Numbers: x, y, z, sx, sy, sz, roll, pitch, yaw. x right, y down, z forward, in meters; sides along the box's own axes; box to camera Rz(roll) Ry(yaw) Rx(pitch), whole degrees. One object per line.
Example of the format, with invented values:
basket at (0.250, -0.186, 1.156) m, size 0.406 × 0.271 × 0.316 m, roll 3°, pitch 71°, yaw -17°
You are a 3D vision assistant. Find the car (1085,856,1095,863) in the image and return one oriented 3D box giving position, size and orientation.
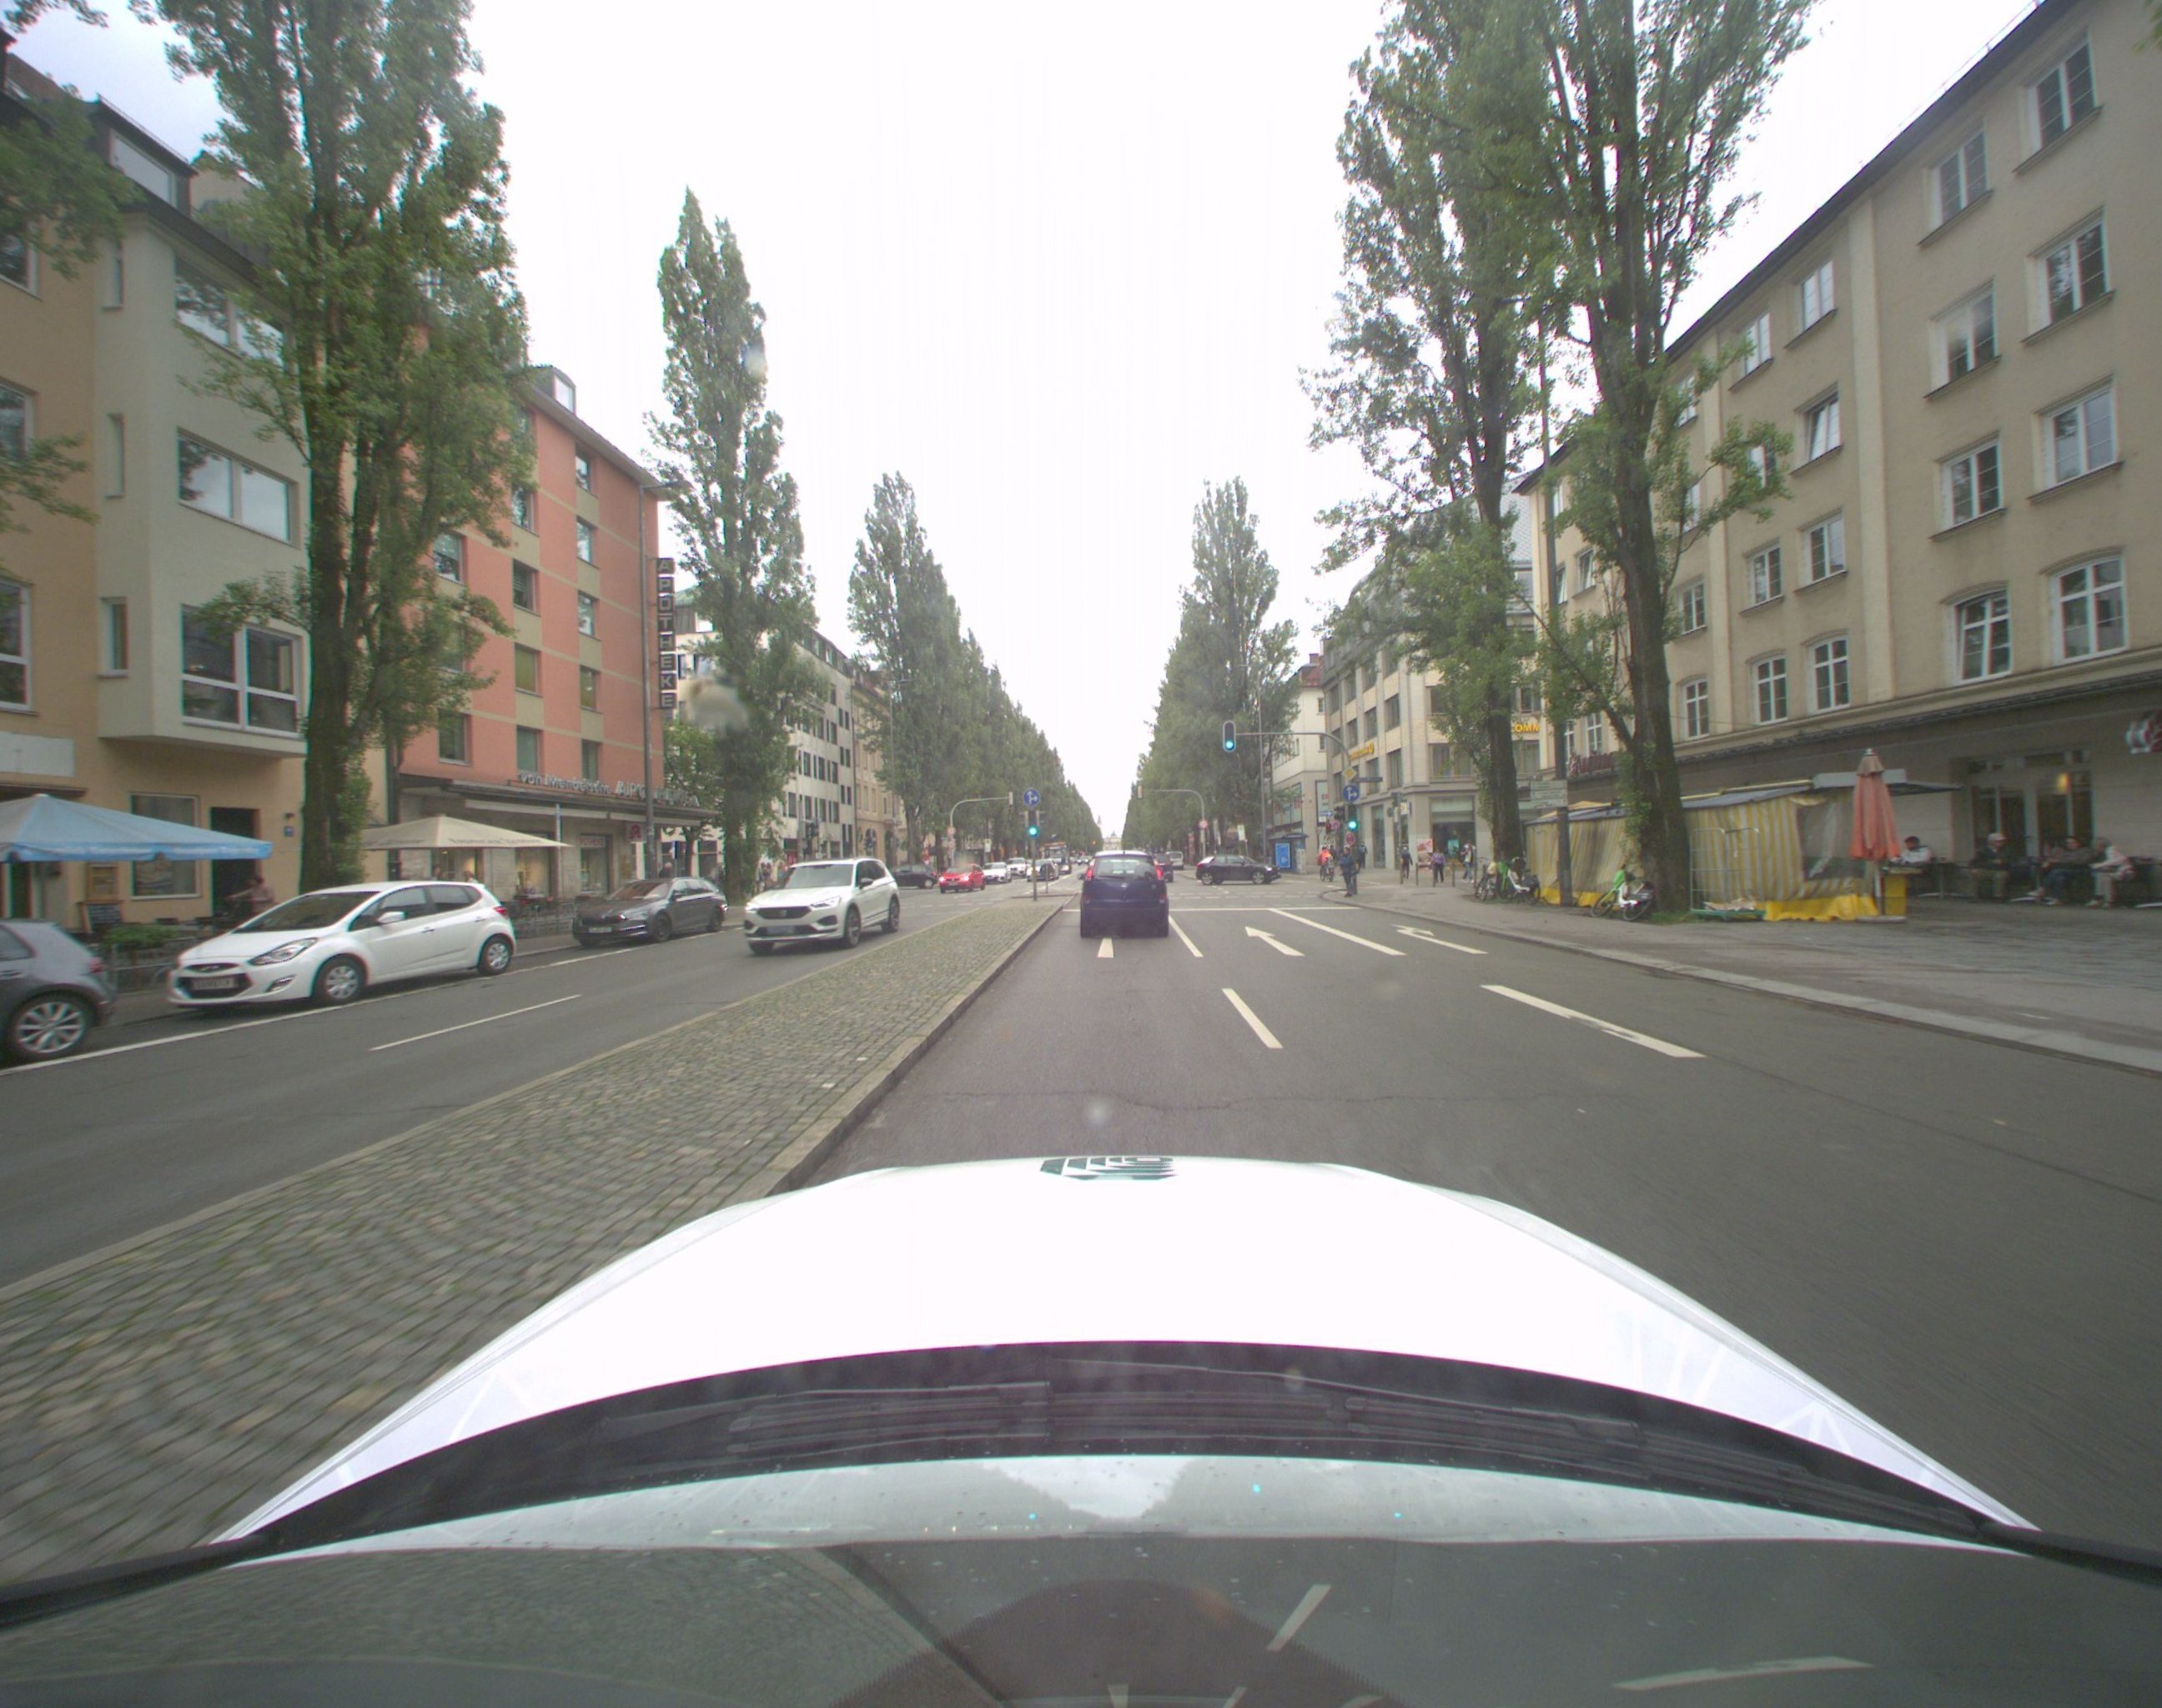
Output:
car at (2.093, 1.236, 183.530) m, size 1.928 × 1.623 × 4.338 m, roll -4°, pitch 0°, yaw 2°

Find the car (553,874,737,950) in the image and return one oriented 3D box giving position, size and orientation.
car at (-10.104, 1.269, 19.358) m, size 1.696 × 1.438 × 4.592 m, roll -3°, pitch -1°, yaw 2°

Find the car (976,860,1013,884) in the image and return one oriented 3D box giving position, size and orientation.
car at (-5.808, 1.184, 55.114) m, size 1.816 × 1.408 × 4.634 m, roll -3°, pitch 0°, yaw 2°

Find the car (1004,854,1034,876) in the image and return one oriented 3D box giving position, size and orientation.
car at (-5.171, 0.896, 68.185) m, size 1.830 × 1.716 × 4.639 m, roll -3°, pitch 0°, yaw 3°

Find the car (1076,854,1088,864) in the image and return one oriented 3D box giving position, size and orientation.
car at (0.218, 0.909, 147.102) m, size 1.906 × 1.681 × 4.588 m, roll -2°, pitch 0°, yaw 2°

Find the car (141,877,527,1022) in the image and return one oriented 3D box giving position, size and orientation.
car at (-10.434, 1.214, 11.896) m, size 1.696 × 1.583 × 4.098 m, roll -3°, pitch -1°, yaw 2°

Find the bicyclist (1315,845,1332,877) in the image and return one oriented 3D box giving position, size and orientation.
bicyclist at (11.977, 0.346, 40.241) m, size 0.619 × 1.588 × 0.753 m, roll -2°, pitch -1°, yaw 1°

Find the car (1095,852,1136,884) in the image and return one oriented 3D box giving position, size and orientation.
car at (1.732, 0.680, 41.642) m, size 1.986 × 1.497 × 4.001 m, roll -2°, pitch 0°, yaw 1°

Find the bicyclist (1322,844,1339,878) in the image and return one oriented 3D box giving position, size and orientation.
bicyclist at (11.942, 0.335, 38.983) m, size 0.619 × 1.588 × 0.391 m, roll -2°, pitch -1°, yaw 1°

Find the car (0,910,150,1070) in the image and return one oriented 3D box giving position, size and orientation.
car at (-10.606, 1.297, 6.444) m, size 1.487 × 1.381 × 4.189 m, roll -3°, pitch -1°, yaw 3°

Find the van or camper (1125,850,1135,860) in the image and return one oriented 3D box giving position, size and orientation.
van or camper at (13.337, 0.360, 221.212) m, size 2.467 × 2.581 × 5.848 m, roll -2°, pitch 0°, yaw 3°

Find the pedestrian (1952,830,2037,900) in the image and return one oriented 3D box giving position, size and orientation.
pedestrian at (17.245, 0.204, 15.392) m, size 0.772 × 1.264 × 0.700 m, roll -2°, pitch 0°, yaw 2°

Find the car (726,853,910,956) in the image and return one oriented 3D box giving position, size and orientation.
car at (-4.918, 0.847, 15.998) m, size 1.836 × 1.636 × 4.579 m, roll -3°, pitch 0°, yaw 3°

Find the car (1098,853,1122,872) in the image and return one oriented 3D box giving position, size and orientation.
car at (2.545, 0.728, 70.849) m, size 1.986 × 1.497 × 4.001 m, roll -2°, pitch 0°, yaw 1°

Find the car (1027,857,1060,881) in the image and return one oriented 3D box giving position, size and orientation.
car at (-2.568, 0.996, 56.488) m, size 1.836 × 1.501 × 4.988 m, roll -3°, pitch 0°, yaw 2°

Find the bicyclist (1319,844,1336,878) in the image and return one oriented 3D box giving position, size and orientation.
bicyclist at (11.951, 0.339, 39.463) m, size 0.619 × 1.588 × 0.481 m, roll -2°, pitch -1°, yaw 1°

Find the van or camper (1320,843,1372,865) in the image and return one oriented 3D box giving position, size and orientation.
van or camper at (23.168, -0.026, 71.309) m, size 4.084 × 1.867 × 1.901 m, roll -1°, pitch -1°, yaw 6°

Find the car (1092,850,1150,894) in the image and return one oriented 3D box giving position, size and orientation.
car at (1.467, 0.625, 30.743) m, size 1.986 × 1.497 × 4.001 m, roll -2°, pitch 0°, yaw 1°

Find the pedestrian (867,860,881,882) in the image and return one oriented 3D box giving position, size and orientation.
pedestrian at (-14.960, 1.252, 58.825) m, size 0.747 × 1.567 × 0.990 m, roll -1°, pitch -1°, yaw 3°

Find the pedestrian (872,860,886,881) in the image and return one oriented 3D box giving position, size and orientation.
pedestrian at (-16.093, 1.282, 64.945) m, size 0.775 × 1.618 × 0.935 m, roll -2°, pitch 0°, yaw 2°

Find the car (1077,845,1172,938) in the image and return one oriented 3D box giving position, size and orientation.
car at (0.839, 0.678, 16.695) m, size 1.675 × 1.641 × 4.001 m, roll -1°, pitch 0°, yaw 1°

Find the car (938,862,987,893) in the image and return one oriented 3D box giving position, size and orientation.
car at (-6.045, 1.159, 41.879) m, size 1.730 × 1.437 × 3.825 m, roll -3°, pitch 0°, yaw 2°

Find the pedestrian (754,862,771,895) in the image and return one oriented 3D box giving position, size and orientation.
pedestrian at (-16.423, 1.252, 41.967) m, size 0.584 × 1.691 × 0.514 m, roll -2°, pitch 0°, yaw 2°

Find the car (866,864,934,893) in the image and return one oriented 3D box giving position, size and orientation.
car at (-10.581, 1.409, 47.586) m, size 3.700 × 1.475 × 1.762 m, roll -2°, pitch 0°, yaw -17°

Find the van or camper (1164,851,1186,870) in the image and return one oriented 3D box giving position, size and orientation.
van or camper at (9.751, 0.658, 84.470) m, size 1.861 × 1.883 × 4.905 m, roll -1°, pitch 0°, yaw 2°

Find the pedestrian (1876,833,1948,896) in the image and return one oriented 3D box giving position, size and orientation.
pedestrian at (17.486, 0.220, 17.155) m, size 0.772 × 1.264 × 0.700 m, roll -2°, pitch 0°, yaw 2°

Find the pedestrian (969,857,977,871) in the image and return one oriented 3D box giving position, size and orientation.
pedestrian at (-13.815, 1.293, 104.175) m, size 0.731 × 1.673 × 0.953 m, roll -2°, pitch 0°, yaw 2°

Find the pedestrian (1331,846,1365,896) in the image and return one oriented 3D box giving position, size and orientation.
pedestrian at (8.849, 0.541, 27.037) m, size 0.763 × 1.609 × 0.864 m, roll -2°, pitch 0°, yaw -2°

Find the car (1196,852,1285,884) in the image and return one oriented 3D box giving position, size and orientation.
car at (7.925, 0.703, 40.493) m, size 3.949 × 1.461 × 1.770 m, roll -2°, pitch 0°, yaw 29°

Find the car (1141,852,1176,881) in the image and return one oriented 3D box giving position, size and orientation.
car at (4.446, 0.698, 47.307) m, size 1.700 × 1.574 × 4.002 m, roll -2°, pitch 0°, yaw 2°

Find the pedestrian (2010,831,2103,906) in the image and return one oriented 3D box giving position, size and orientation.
pedestrian at (17.233, 0.254, 14.407) m, size 0.772 × 1.264 × 0.700 m, roll -2°, pitch 0°, yaw 2°
